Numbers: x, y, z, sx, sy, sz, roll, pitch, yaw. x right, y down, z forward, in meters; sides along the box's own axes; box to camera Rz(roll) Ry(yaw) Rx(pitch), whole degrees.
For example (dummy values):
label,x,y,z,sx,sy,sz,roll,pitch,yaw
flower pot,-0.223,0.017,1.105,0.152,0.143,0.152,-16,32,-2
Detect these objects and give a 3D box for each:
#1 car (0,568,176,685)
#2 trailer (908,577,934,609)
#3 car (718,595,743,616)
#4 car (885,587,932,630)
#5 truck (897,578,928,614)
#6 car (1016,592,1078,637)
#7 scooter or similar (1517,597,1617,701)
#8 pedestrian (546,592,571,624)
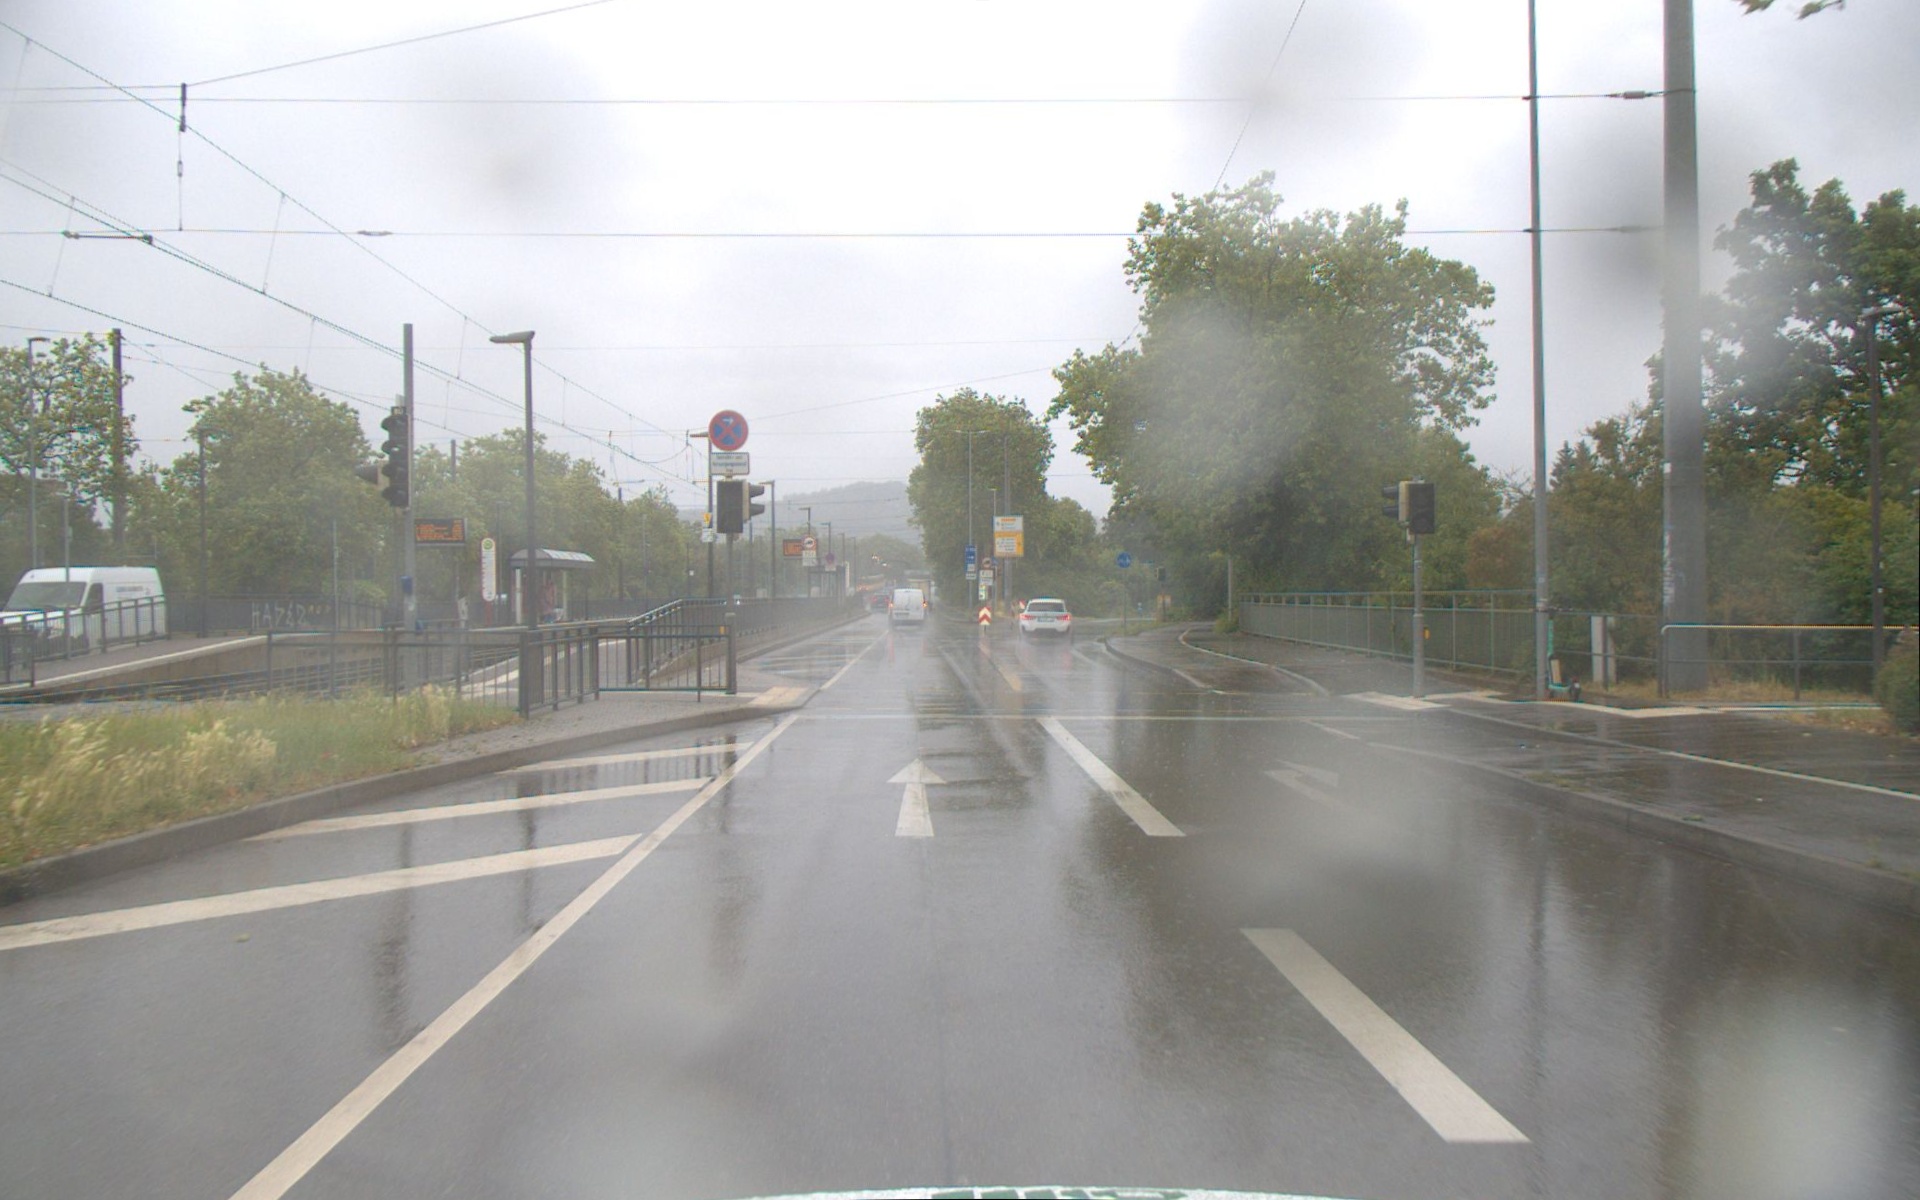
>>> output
label,x,y,z,sx,sy,sz,roll,pitch,yaw
car,-22.260,0.608,41.997,2.077,2.760,5.737,0,0,-1
trailer,-3.431,-0.594,146.826,2.121,2.806,5.676,0,0,0
car,-22.343,0.510,161.070,1.953,2.049,3.999,0,0,-1
car,-2.364,0.376,74.695,1.954,1.881,3.997,0,0,-4
truck,-5.133,-0.373,177.853,2.722,3.769,9.841,0,0,-5
car,2.940,0.461,55.331,1.848,1.456,4.003,0,0,6
scooter or similar,7.973,0.625,21.777,0.743,1.315,1.647,0,0,1
pedestrian,-17.062,0.338,70.312,0.814,1.339,0.858,1,0,-1
